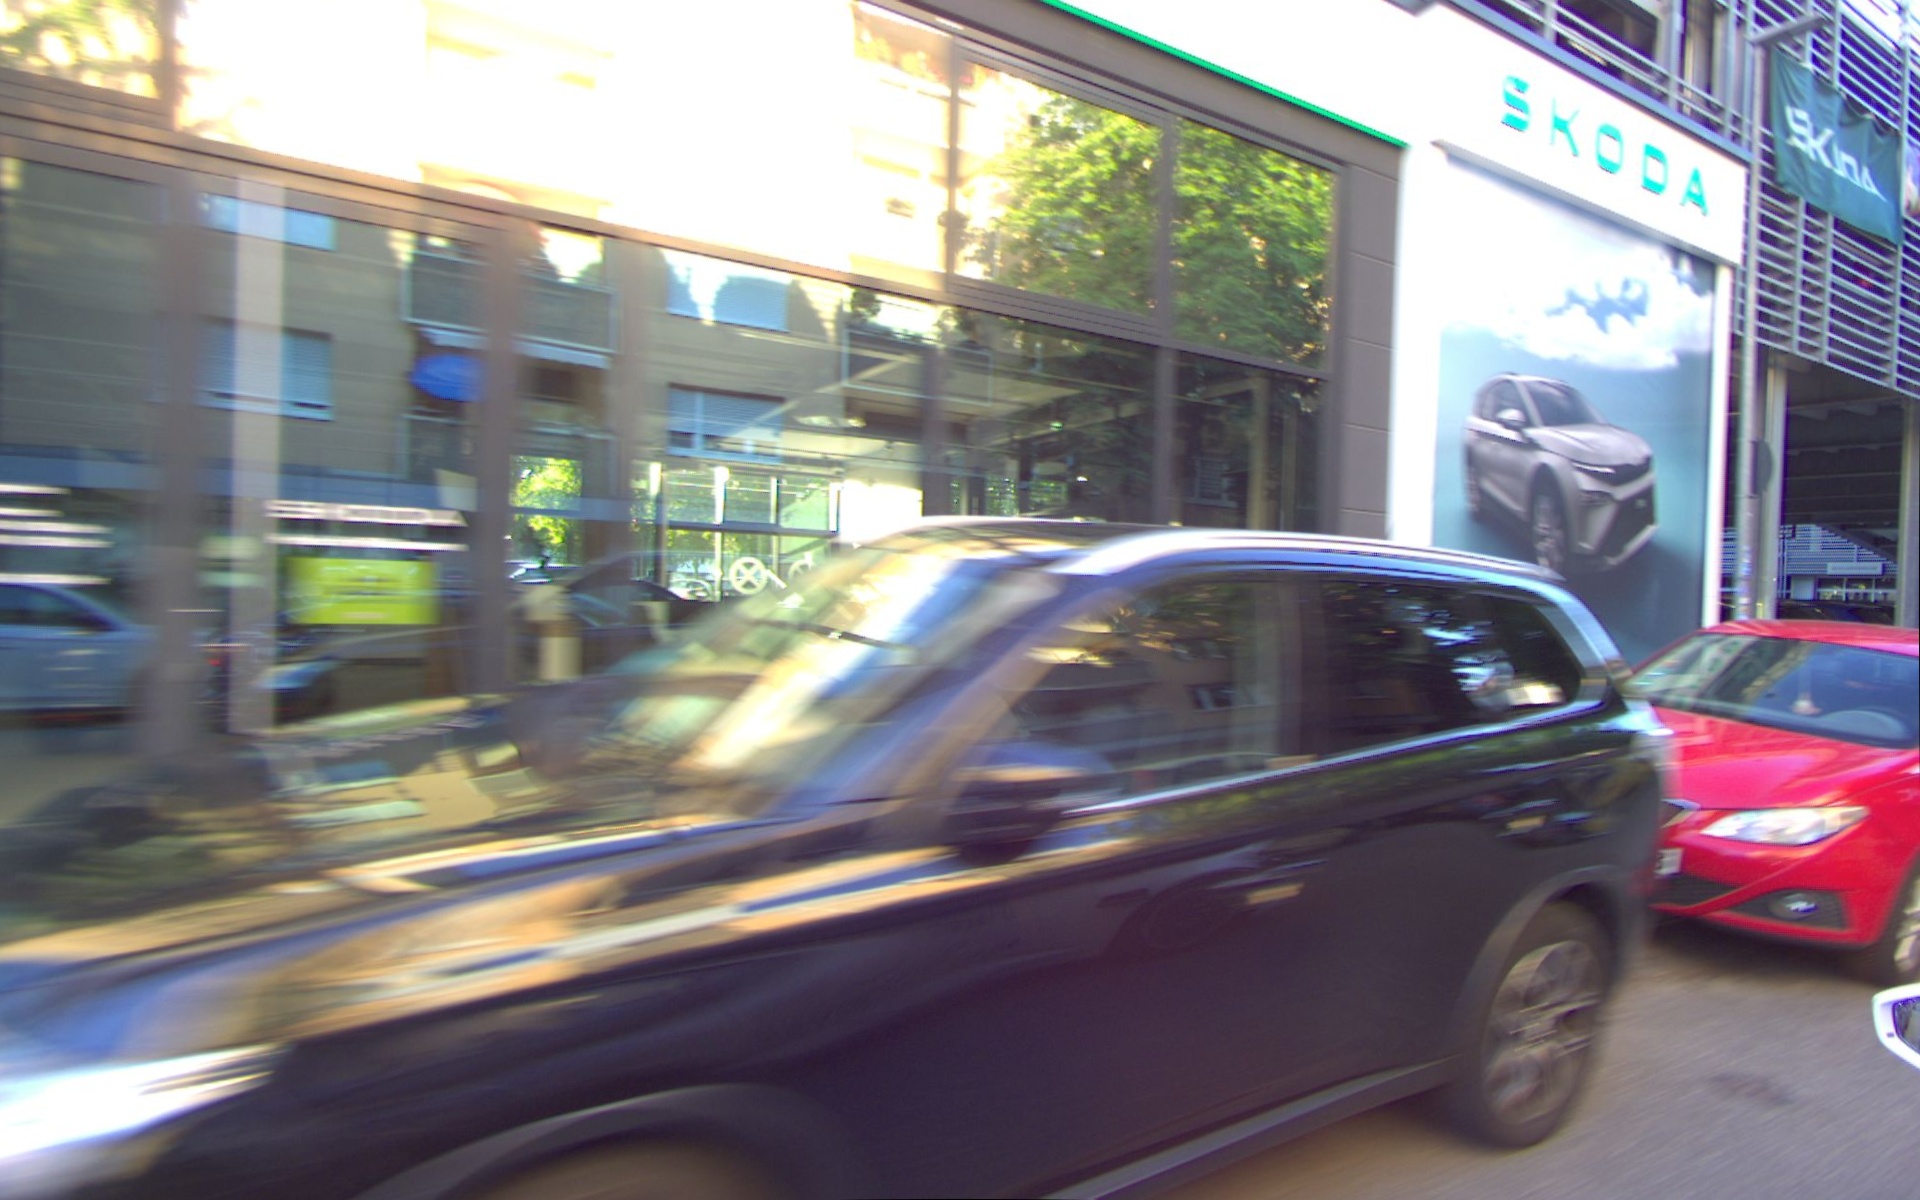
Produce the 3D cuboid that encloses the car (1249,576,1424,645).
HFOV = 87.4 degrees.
[{"bbox_3d":[7.547,0.200,20.080,3.485,1.272,1.413,1,1,-31],"label":"car"}]

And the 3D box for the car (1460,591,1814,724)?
[{"bbox_3d":[10.201,0.751,15.494,1.837,1.706,4.147,1,1,-29],"label":"car"}]

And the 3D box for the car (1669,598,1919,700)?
[{"bbox_3d":[16.426,0.846,19.348,1.837,1.706,4.130,1,1,-29],"label":"car"}]

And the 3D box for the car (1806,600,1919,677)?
[{"bbox_3d":[22.279,0.885,22.972,1.837,1.706,4.084,1,1,-29],"label":"car"}]

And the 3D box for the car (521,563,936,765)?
[{"bbox_3d":[-2.271,0.577,10.053,3.695,1.680,1.689,2,0,-31],"label":"car"}]

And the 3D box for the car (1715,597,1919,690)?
[{"bbox_3d":[18.225,0.833,20.580,1.837,1.706,4.007,1,1,-29],"label":"car"}]

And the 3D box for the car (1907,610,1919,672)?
[{"bbox_3d":[28.160,1.177,26.653,1.837,1.706,4.046,1,1,-29],"label":"car"}]

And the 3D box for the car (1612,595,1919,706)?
[{"bbox_3d":[14.307,0.794,17.994,1.837,1.706,4.017,1,1,-29],"label":"car"}]

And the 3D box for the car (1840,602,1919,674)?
[{"bbox_3d":[24.239,0.943,24.277,1.837,1.706,4.084,1,1,-29],"label":"car"}]

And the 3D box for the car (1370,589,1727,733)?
[{"bbox_3d":[8.165,0.729,14.333,1.837,1.706,4.024,1,1,-29],"label":"car"}]

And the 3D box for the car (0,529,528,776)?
[{"bbox_3d":[-6.017,0.401,8.556,4.085,1.748,1.689,2,0,-31],"label":"car"}]

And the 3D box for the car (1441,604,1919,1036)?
[{"bbox_3d":[4.461,0.825,5.309,3.747,1.526,1.689,1,0,-31],"label":"car"}]

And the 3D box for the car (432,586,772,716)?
[{"bbox_3d":[-4.559,0.593,12.930,3.875,1.453,1.689,1,0,-31],"label":"car"}]

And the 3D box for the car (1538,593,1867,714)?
[{"bbox_3d":[12.166,0.771,16.747,1.837,1.706,4.017,1,1,-29],"label":"car"}]

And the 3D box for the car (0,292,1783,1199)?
[{"bbox_3d":[0.323,0.605,2.796,4.353,1.779,1.689,1,0,-31],"label":"car"}]

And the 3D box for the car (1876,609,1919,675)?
[{"bbox_3d":[26.335,1.125,25.579,1.837,1.706,4.084,1,1,-29],"label":"car"}]

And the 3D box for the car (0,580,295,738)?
[{"bbox_3d":[-9.074,0.542,10.098,3.875,1.453,1.689,1,0,-31],"label":"car"}]

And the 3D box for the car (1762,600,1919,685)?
[{"bbox_3d":[20.343,0.899,21.915,1.837,1.706,4.065,1,1,-29],"label":"car"}]

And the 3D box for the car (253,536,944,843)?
[{"bbox_3d":[-2.424,0.516,7.360,4.359,1.681,1.689,1,0,-31],"label":"car"}]
